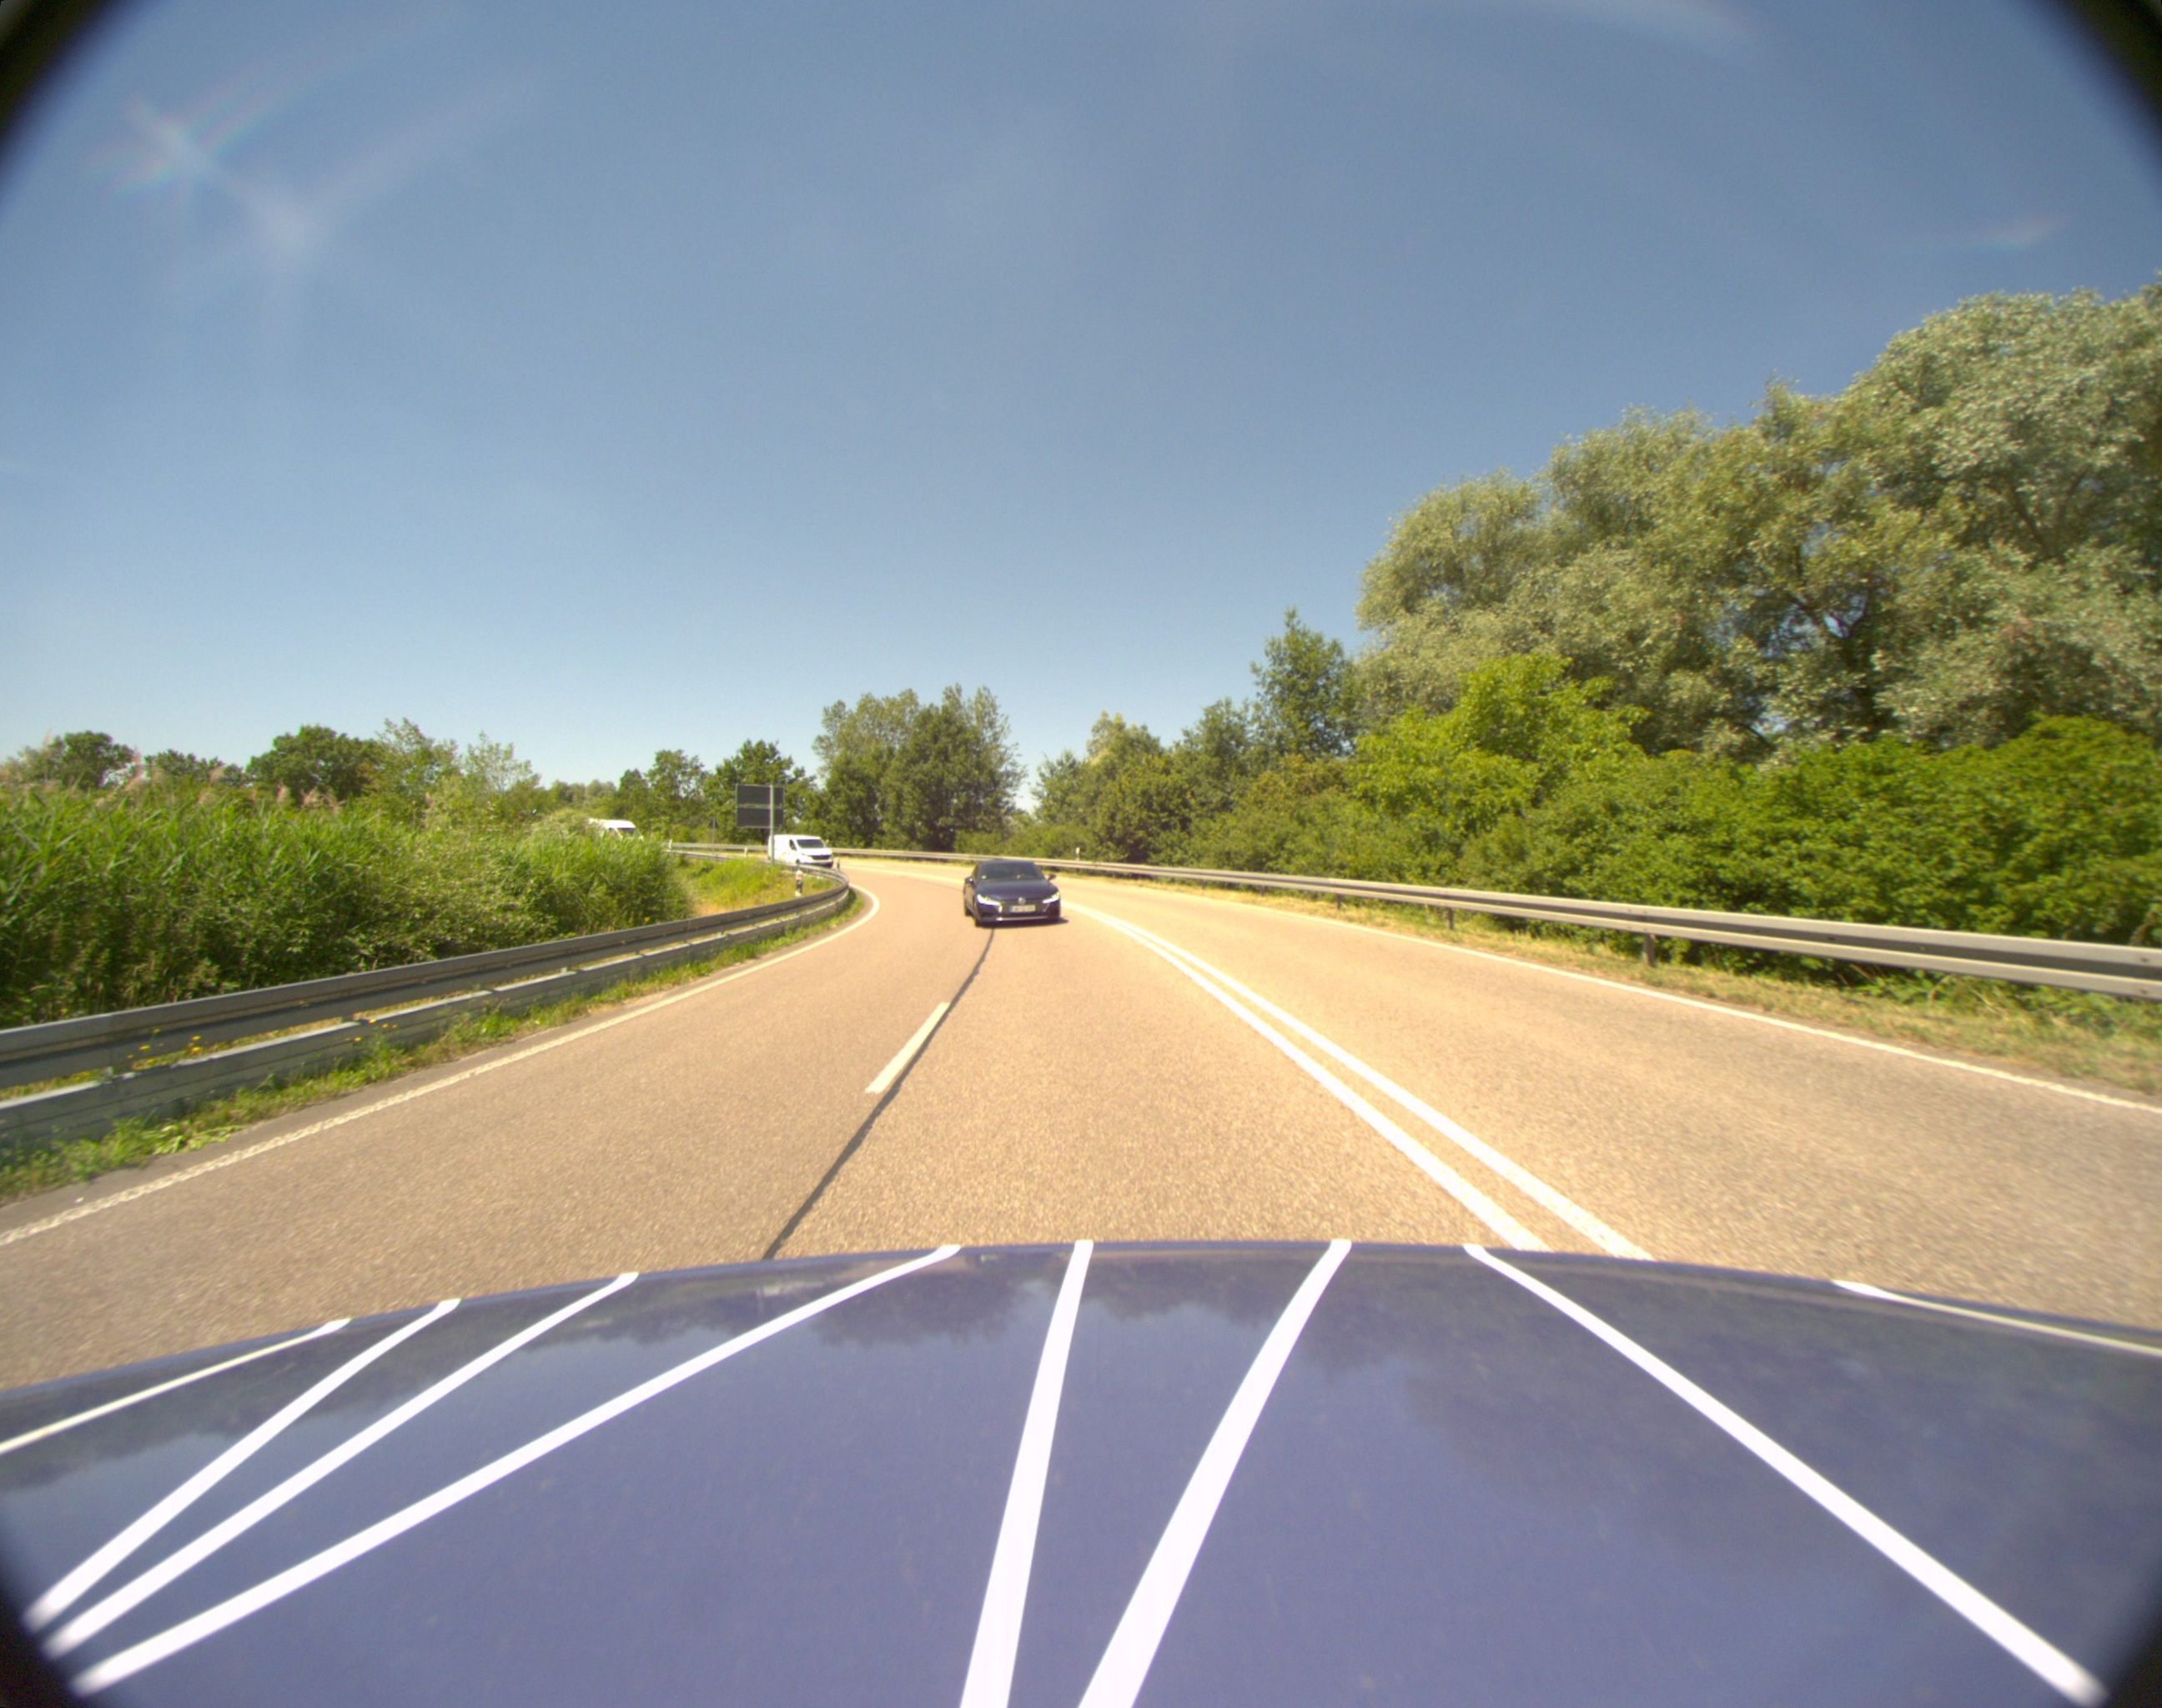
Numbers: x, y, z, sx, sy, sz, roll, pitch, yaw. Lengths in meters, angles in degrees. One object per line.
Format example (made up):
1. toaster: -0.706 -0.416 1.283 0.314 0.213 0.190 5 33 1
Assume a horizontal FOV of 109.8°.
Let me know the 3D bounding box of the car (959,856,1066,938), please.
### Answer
1. car: -1.741 0.888 17.798 1.845 1.423 4.527 -3 2 -13

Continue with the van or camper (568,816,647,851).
1. van or camper: -36.762 -1.592 58.988 6.032 2.541 2.077 0 4 25

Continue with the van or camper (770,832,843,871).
1. van or camper: -16.139 -0.212 44.486 2.014 2.021 5.430 -3 5 -43
